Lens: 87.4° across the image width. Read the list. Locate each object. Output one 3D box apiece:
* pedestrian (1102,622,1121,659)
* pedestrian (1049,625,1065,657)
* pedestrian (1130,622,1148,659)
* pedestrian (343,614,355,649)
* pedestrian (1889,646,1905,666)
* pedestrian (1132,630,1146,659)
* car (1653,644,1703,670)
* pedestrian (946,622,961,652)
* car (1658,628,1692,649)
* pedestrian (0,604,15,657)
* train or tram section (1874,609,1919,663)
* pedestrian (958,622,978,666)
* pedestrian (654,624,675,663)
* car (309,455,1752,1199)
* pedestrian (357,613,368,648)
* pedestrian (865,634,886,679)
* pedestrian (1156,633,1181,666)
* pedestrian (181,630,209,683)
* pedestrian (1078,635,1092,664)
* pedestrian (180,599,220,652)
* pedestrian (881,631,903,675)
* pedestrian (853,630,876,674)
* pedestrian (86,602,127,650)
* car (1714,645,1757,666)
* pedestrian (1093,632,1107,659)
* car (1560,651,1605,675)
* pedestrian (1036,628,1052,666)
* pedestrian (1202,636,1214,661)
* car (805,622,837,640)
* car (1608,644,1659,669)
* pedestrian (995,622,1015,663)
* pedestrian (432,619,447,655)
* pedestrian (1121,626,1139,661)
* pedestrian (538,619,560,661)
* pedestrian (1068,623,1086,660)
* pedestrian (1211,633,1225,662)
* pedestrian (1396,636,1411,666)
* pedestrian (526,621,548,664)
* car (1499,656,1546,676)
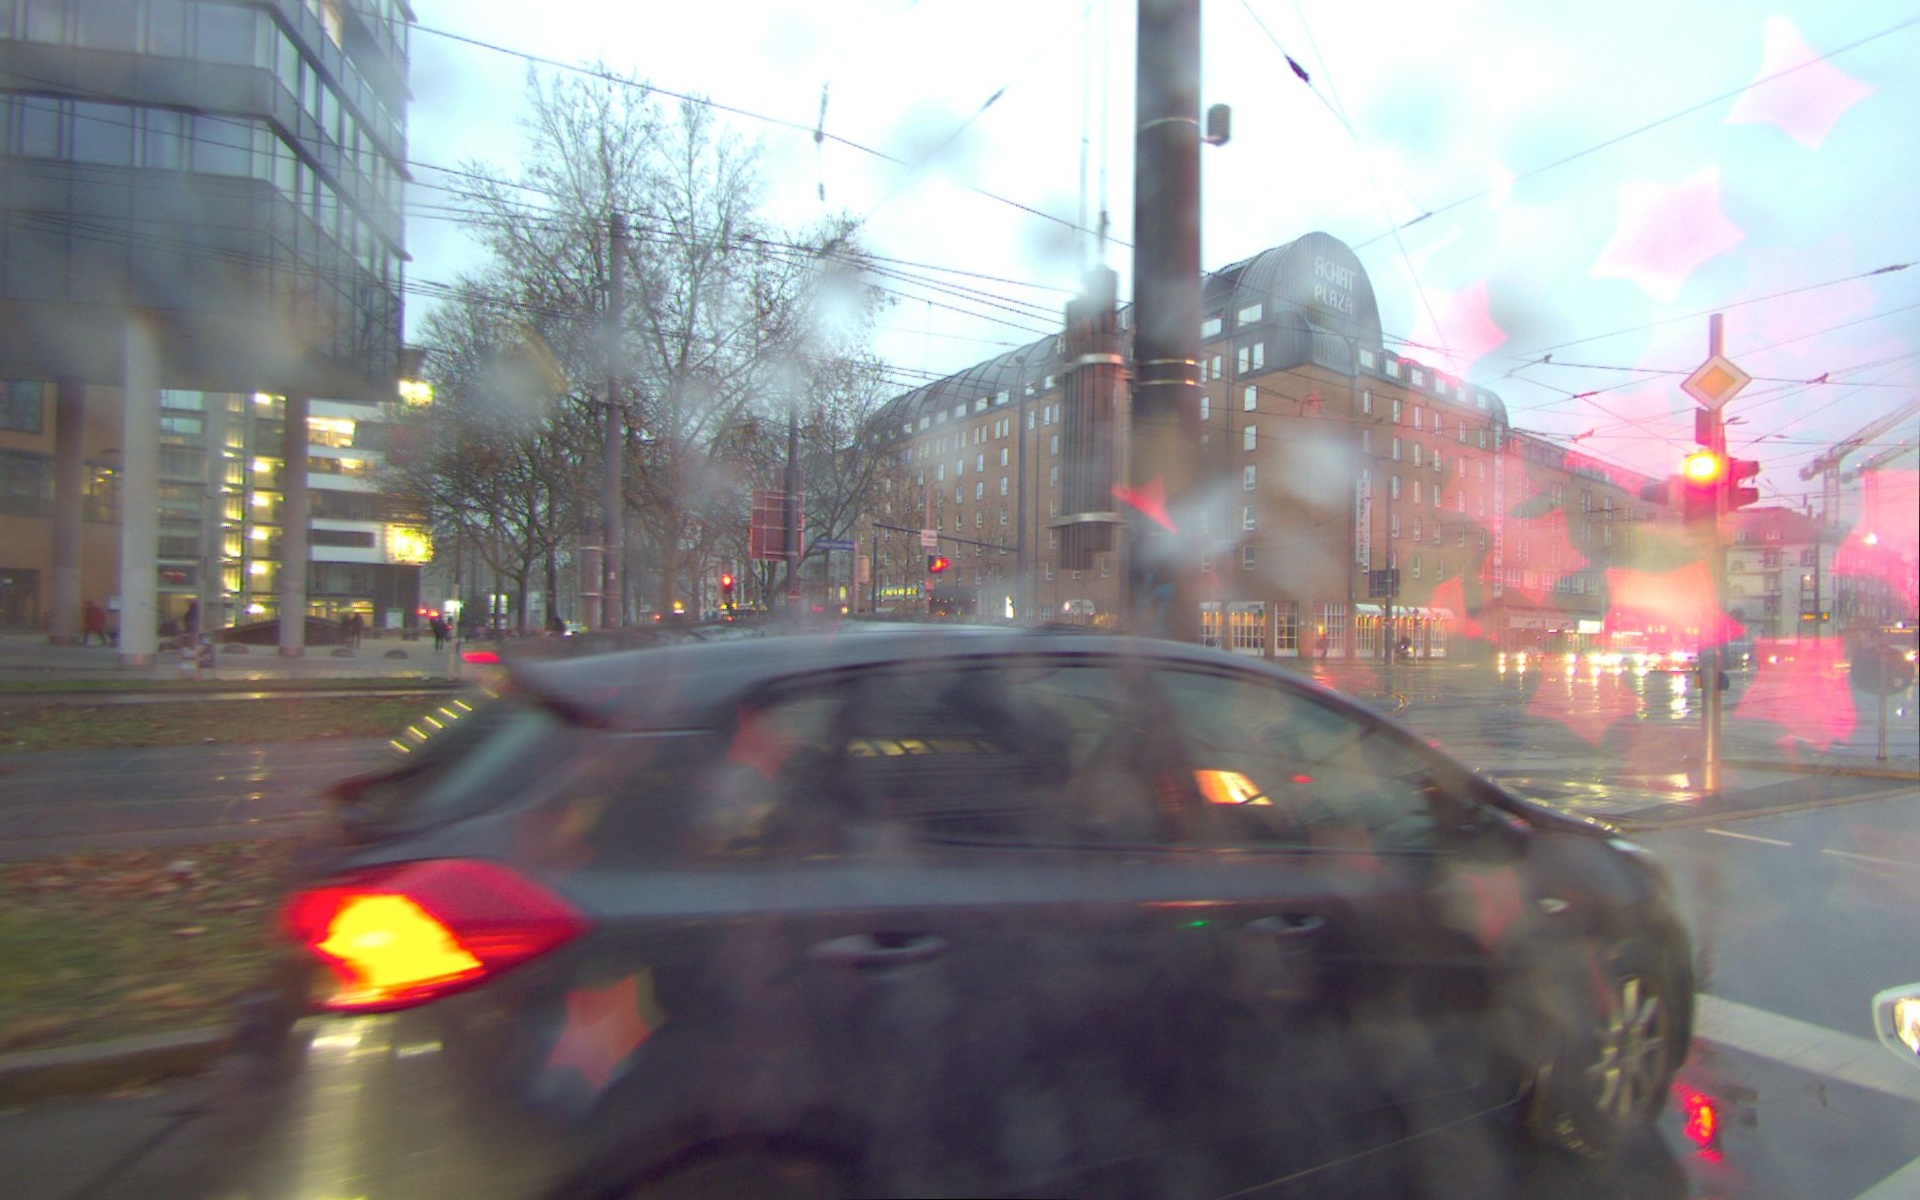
[{"bbox_3d":[8.523,2.281,56.399,0.701,2.040,0.751,2,-2,-36],"label":"pedestrian"},{"bbox_3d":[6.273,2.629,65.027,0.712,2.040,0.740,2,-2,-33],"label":"pedestrian"},{"bbox_3d":[10.119,2.279,56.816,0.746,2.040,0.705,1,-2,-14],"label":"pedestrian"},{"bbox_3d":[-31.063,1.618,51.074,0.441,1.774,0.649,1,-1,-30],"label":"pedestrian"},{"bbox_3d":[55.823,3.317,59.844,0.486,1.168,0.575,2,0,-38],"label":"pedestrian"},{"bbox_3d":[9.873,2.448,55.517,0.566,1.558,0.517,1,-1,-21],"label":"pedestrian"},{"bbox_3d":[50.311,3.989,70.364,4.669,1.732,1.813,2,-2,-41],"label":"car"},{"bbox_3d":[-0.437,2.480,67.655,0.712,2.040,0.740,2,-2,-33],"label":"pedestrian"},{"bbox_3d":[72.963,3.928,102.485,3.969,2.040,1.976,2,0,-41],"label":"car"},{"bbox_3d":[-28.288,0.891,29.392,0.683,1.523,0.650,1,-2,-21],"label":"pedestrian"},{"bbox_3d":[69.328,2.640,72.798,12.156,3.637,2.925,2,0,-40],"label":"train or tram section"},{"bbox_3d":[0.372,2.076,47.330,0.746,2.040,0.705,1,-2,-14],"label":"pedestrian"},{"bbox_3d":[-15.579,2.309,52.952,0.696,2.040,0.757,0,-2,36],"label":"pedestrian"},{"bbox_3d":[0.413,0.678,2.902,3.715,1.593,1.673,2,-2,-29],"label":"car"},{"bbox_3d":[-30.601,1.563,51.457,0.441,1.774,0.649,1,-1,-30],"label":"pedestrian"},{"bbox_3d":[-3.898,2.598,46.329,0.750,2.040,0.702,2,-2,-28],"label":"pedestrian"},{"bbox_3d":[12.265,2.918,59.043,1.144,1.924,0.856,1,-1,-21],"label":"pedestrian"},{"bbox_3d":[-18.827,1.380,24.724,0.491,1.281,0.442,2,0,-34],"label":"pedestrian"},{"bbox_3d":[6.773,2.691,54.597,0.566,1.558,0.517,1,-1,-21],"label":"pedestrian"},{"bbox_3d":[-27.085,0.913,35.827,0.908,1.870,0.771,1,-2,-21],"label":"pedestrian"},{"bbox_3d":[-3.150,2.466,46.647,0.750,2.040,0.702,2,-2,-28],"label":"pedestrian"},{"bbox_3d":[-4.480,2.442,47.094,0.696,2.040,0.757,0,-2,36],"label":"pedestrian"},{"bbox_3d":[-31.483,0.952,37.078,0.680,1.731,0.926,1,-1,-1],"label":"pedestrian"},{"bbox_3d":[53.452,3.816,69.219,3.519,1.372,1.667,3,-1,-41],"label":"car"},{"bbox_3d":[8.095,2.608,58.093,0.566,1.558,0.517,1,-1,-21],"label":"pedestrian"},{"bbox_3d":[42.542,4.279,68.573,3.566,1.515,1.569,2,-2,-40],"label":"car"},{"bbox_3d":[4.481,2.495,53.460,0.657,1.984,0.527,1,-1,-17],"label":"pedestrian"},{"bbox_3d":[15.775,3.096,63.891,0.566,1.558,0.517,1,-1,-21],"label":"pedestrian"},{"bbox_3d":[-15.076,3.347,108.973,2.085,1.806,3.673,2,-2,-32],"label":"car"},{"bbox_3d":[44.257,3.702,65.964,4.166,1.515,1.654,2,-2,-40],"label":"car"},{"bbox_3d":[2.249,2.105,50.118,0.746,2.040,0.798,1,-2,-14],"label":"pedestrian"},{"bbox_3d":[-25.403,1.804,49.035,0.556,1.706,0.592,2,-1,-34],"label":"pedestrian"},{"bbox_3d":[9.950,2.551,58.808,0.746,2.040,0.705,1,-2,-14],"label":"pedestrian"},{"bbox_3d":[-16.575,1.609,40.533,0.551,1.706,0.597,0,-1,27],"label":"pedestrian"},{"bbox_3d":[6.460,2.277,55.366,0.746,2.040,0.705,1,-2,-14],"label":"pedestrian"},{"bbox_3d":[14.255,2.626,55.531,0.566,1.558,0.517,1,-1,-21],"label":"pedestrian"},{"bbox_3d":[30.370,3.486,68.768,0.919,2.040,0.758,0,-2,27],"label":"pedestrian"},{"bbox_3d":[-17.132,1.726,40.707,0.551,1.706,0.597,0,-1,27],"label":"pedestrian"},{"bbox_3d":[40.657,4.765,72.562,4.194,1.339,1.598,2,-2,-40],"label":"car"}]
